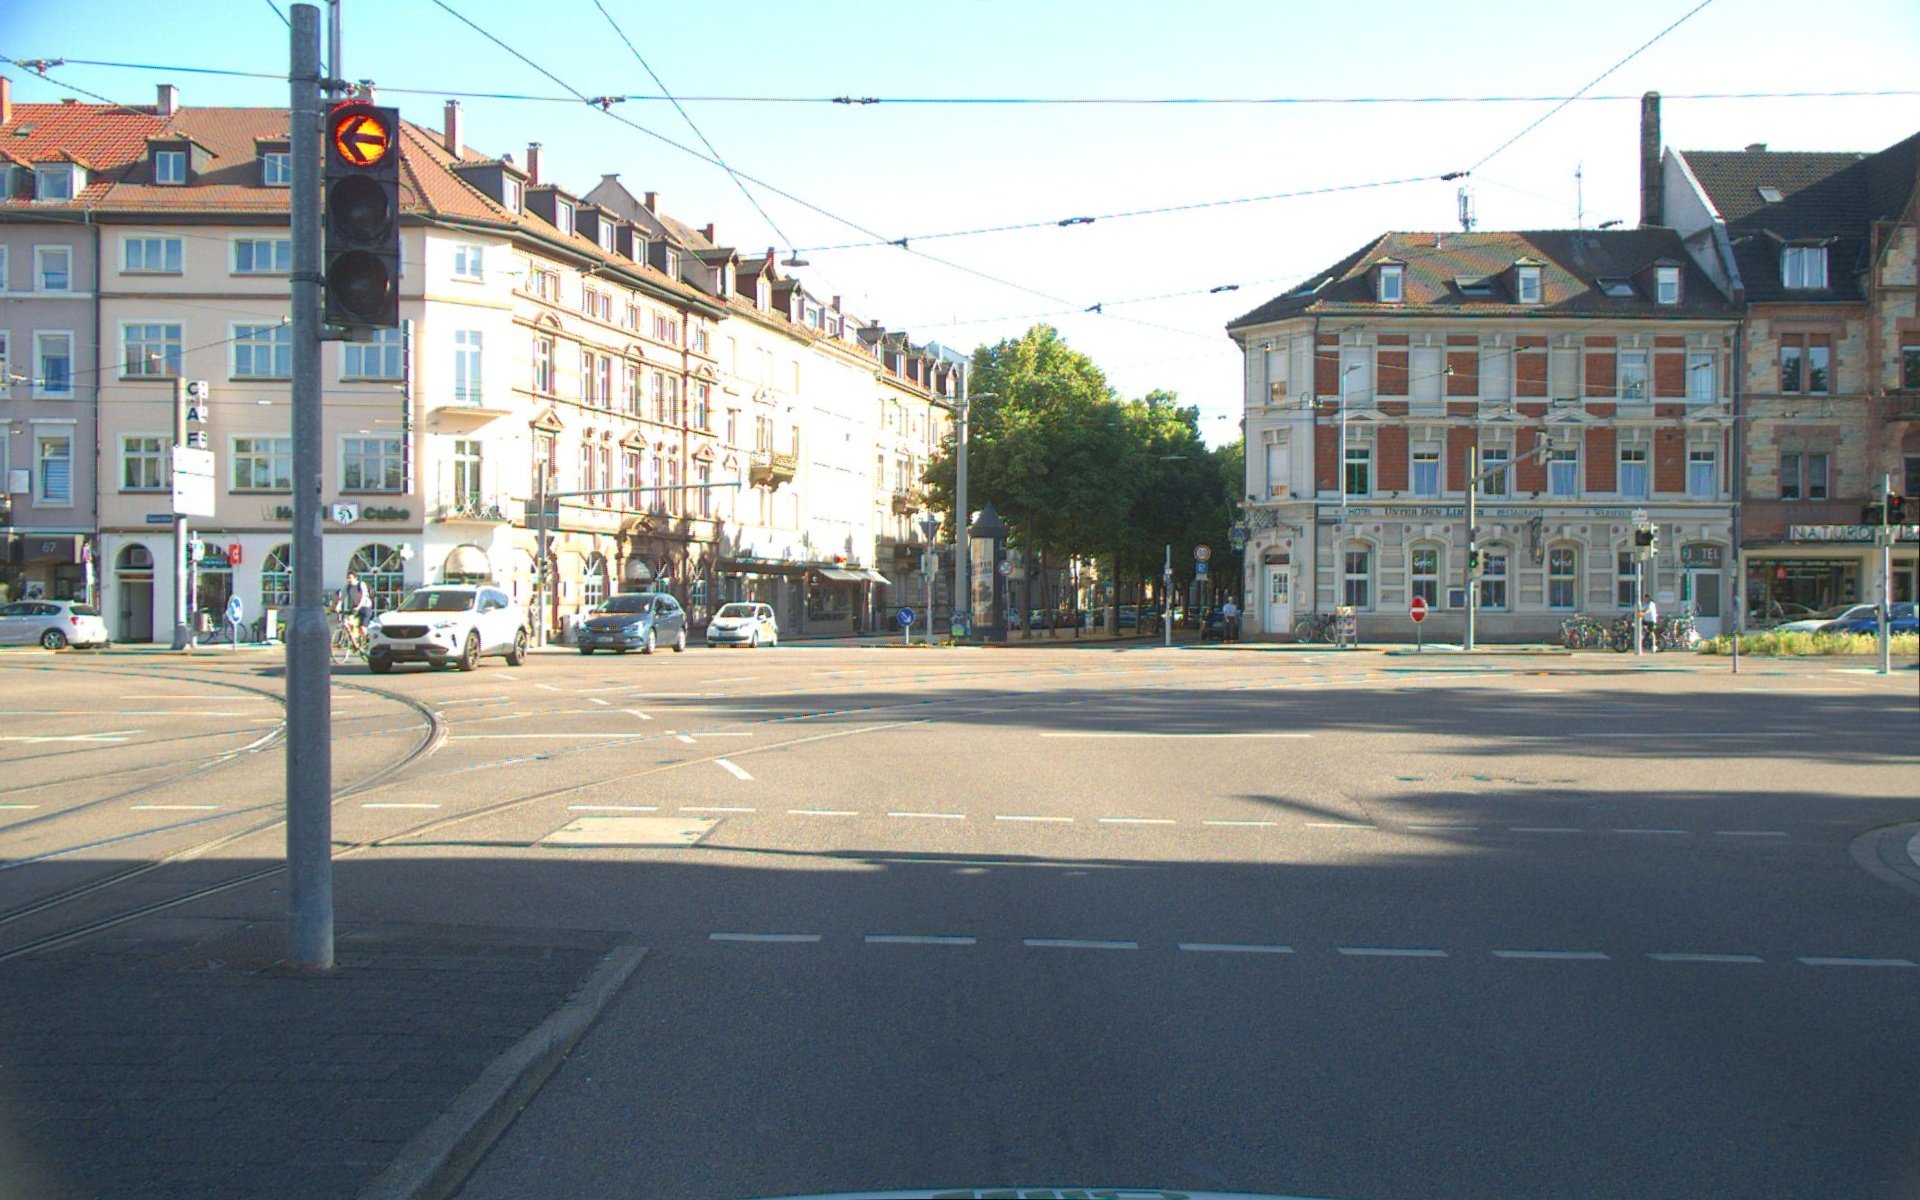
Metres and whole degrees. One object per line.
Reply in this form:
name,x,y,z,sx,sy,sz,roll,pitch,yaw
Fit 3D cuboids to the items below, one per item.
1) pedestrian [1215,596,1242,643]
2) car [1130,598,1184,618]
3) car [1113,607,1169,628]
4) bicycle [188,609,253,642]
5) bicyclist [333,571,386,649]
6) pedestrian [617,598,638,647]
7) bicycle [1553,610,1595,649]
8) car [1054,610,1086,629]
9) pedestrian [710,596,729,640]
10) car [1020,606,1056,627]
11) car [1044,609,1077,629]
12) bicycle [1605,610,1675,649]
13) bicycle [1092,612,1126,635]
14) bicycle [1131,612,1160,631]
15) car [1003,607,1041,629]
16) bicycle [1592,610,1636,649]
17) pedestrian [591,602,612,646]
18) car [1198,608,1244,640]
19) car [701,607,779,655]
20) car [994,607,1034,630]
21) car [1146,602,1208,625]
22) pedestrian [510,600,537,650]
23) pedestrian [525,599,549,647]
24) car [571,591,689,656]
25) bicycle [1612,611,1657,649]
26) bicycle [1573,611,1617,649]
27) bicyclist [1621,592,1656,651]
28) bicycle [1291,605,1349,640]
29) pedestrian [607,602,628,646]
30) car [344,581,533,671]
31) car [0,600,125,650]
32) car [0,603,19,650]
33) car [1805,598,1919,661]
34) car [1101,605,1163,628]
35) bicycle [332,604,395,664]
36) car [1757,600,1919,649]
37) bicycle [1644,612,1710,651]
pedestrian,9.801,0.718,60.343,0.702,1.698,0.937,0,0,-9
car,16.011,0.660,134.373,3.910,1.572,1.998,0,0,28
car,14.064,1.328,128.504,3.910,1.572,1.998,0,0,28
bicycle,-25.106,0.857,56.158,1.906,1.086,0.582,0,0,-8
bicyclist,-12.293,0.201,33.885,0.700,1.587,0.987,0,0,2
pedestrian,-12.982,0.874,64.518,0.567,1.868,0.633,0,0,15
bicycle,19.830,0.932,53.456,0.663,1.211,1.967,0,0,0
car,9.108,1.616,136.651,1.951,1.523,4.037,0,0,13
pedestrian,-10.780,0.806,74.101,0.667,1.942,0.633,0,0,15
car,5.791,1.220,122.670,1.951,1.523,4.037,0,0,13
car,8.018,1.502,131.903,1.951,1.523,4.037,0,0,13
bicycle,21.060,0.908,51.244,1.920,1.211,0.602,0,0,2
bicycle,7.464,1.164,82.859,0.577,1.086,1.924,0,0,-37
bicycle,11.160,1.272,99.406,0.577,1.086,1.924,0,0,-37
car,4.445,1.267,117.414,1.951,1.523,4.037,0,0,13
bicycle,21.157,0.942,53.503,0.663,1.211,1.967,0,0,0
pedestrian,-13.788,0.919,63.657,0.613,1.670,0.538,0,0,12
car,13.070,1.168,82.602,1.951,1.523,4.037,0,0,13
car,-7.281,0.992,55.090,1.681,1.523,3.586,0,0,8
car,3.699,1.235,112.916,1.951,1.523,4.037,0,0,13
car,15.299,0.957,116.755,3.913,1.572,1.996,0,0,30
pedestrian,-14.703,0.834,55.726,0.661,1.670,0.579,0,0,13
pedestrian,-14.575,0.790,56.981,0.617,1.670,0.553,0,0,13
car,-8.042,0.542,40.705,1.736,1.523,4.575,0,0,3
bicycle,21.820,0.962,53.505,0.663,1.211,1.967,0,0,0
bicycle,20.519,0.960,53.493,0.663,1.211,1.967,0,0,0
bicyclist,21.012,0.659,51.242,0.854,1.795,0.602,0,0,2
bicycle,12.486,0.789,57.357,1.919,1.211,0.546,0,0,4
pedestrian,-13.125,0.922,63.434,0.539,1.670,0.633,0,0,17
car,-9.323,0.430,29.956,1.952,1.523,4.348,0,0,1
car,-26.275,0.689,46.931,4.125,1.379,1.998,0,0,-5
car,-32.480,0.827,52.151,4.547,1.465,1.743,0,-1,-4
car,25.913,0.799,45.956,3.906,1.697,1.954,0,0,-2
car,12.028,1.149,115.835,3.910,1.572,1.998,0,0,28
bicycle,-12.314,0.685,34.207,0.475,1.186,2.057,0,0,3
car,25.965,0.710,48.952,3.906,1.437,1.845,0,0,-2
bicycle,23.041,1.007,53.126,1.926,1.211,0.677,0,0,-13
